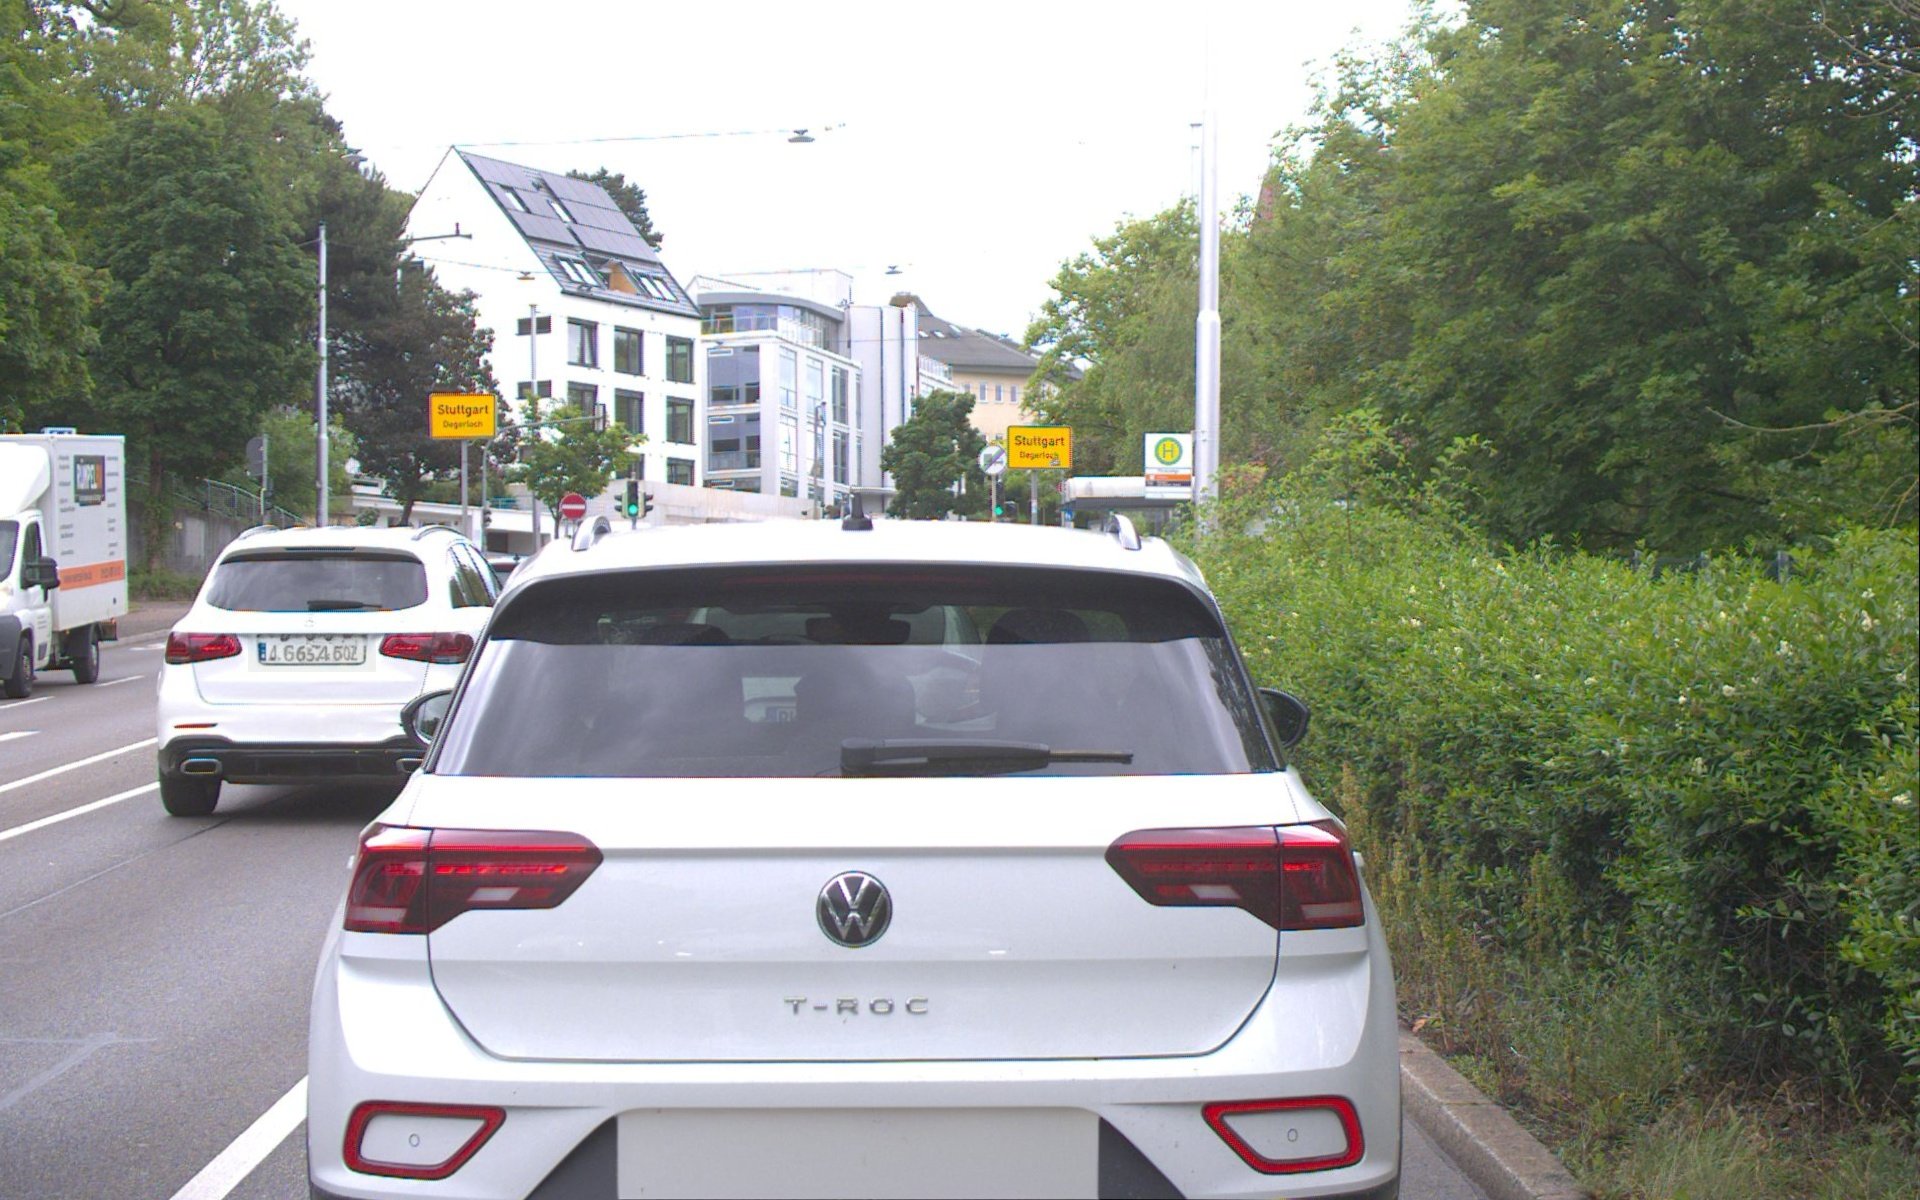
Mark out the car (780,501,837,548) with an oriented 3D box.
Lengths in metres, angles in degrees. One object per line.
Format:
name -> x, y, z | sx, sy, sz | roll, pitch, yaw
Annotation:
car -> -5.135, -2.542, 116.675 | 1.829, 1.520, 4.000 | -1, 1, -1

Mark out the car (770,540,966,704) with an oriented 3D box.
car -> -0.920, 0.173, 34.544 | 1.829, 1.520, 4.000 | -1, 1, -1

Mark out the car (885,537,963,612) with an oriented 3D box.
car -> -1.005, -0.721, 94.252 | 1.993, 1.963, 4.001 | -1, 1, -2

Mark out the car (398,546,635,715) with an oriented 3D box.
car -> -4.193, 0.248, 33.042 | 1.829, 1.492, 4.000 | -1, 1, -1

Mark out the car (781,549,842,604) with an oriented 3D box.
car -> -4.709, -0.773, 109.454 | 1.815, 1.651, 3.929 | -2, 1, -1

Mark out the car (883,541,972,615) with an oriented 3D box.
car -> -0.735, -0.494, 74.038 | 1.829, 1.520, 4.000 | -1, 1, -1

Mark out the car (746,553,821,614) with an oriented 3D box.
car -> -4.593, -0.444, 89.969 | 1.829, 1.520, 4.000 | -1, 1, -1

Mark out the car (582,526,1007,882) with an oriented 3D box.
car -> -0.772, 0.422, 17.009 | 1.829, 1.520, 4.000 | -1, 1, -1

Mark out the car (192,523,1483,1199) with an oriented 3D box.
car -> -0.218, 0.625, 6.890 | 1.829, 1.520, 4.000 | 0, 1, -1

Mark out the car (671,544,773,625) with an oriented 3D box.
car -> -4.696, -0.333, 68.366 | 1.829, 1.520, 4.000 | -1, 1, -1

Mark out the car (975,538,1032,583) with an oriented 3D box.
car -> 1.511, -1.405, 120.537 | 1.829, 1.520, 4.000 | -1, 1, -1

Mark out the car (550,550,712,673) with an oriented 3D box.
car -> -4.285, 0.113, 45.284 | 1.829, 1.520, 4.000 | -1, 1, -1

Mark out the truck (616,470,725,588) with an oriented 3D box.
truck -> -7.159, -1.755, 85.342 | 2.362, 2.772, 4.478 | -2, 1, -1

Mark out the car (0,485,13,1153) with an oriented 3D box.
car -> -3.212, 0.572, 6.389 | 1.849, 1.645, 4.358 | 0, 1, -2

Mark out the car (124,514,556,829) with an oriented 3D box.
car -> -3.535, 0.350, 20.310 | 1.918, 1.664, 4.000 | 0, 1, -1

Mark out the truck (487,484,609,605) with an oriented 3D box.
truck -> -9.639, -1.313, 80.754 | 2.362, 2.697, 4.478 | -2, 1, -1

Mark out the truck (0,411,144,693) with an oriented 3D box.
truck -> -11.489, -0.531, 40.634 | 2.293, 3.040, 6.980 | -1, 1, -3

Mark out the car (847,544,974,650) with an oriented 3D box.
car -> -0.778, -0.077, 52.372 | 1.829, 1.520, 4.000 | -1, 1, -1
